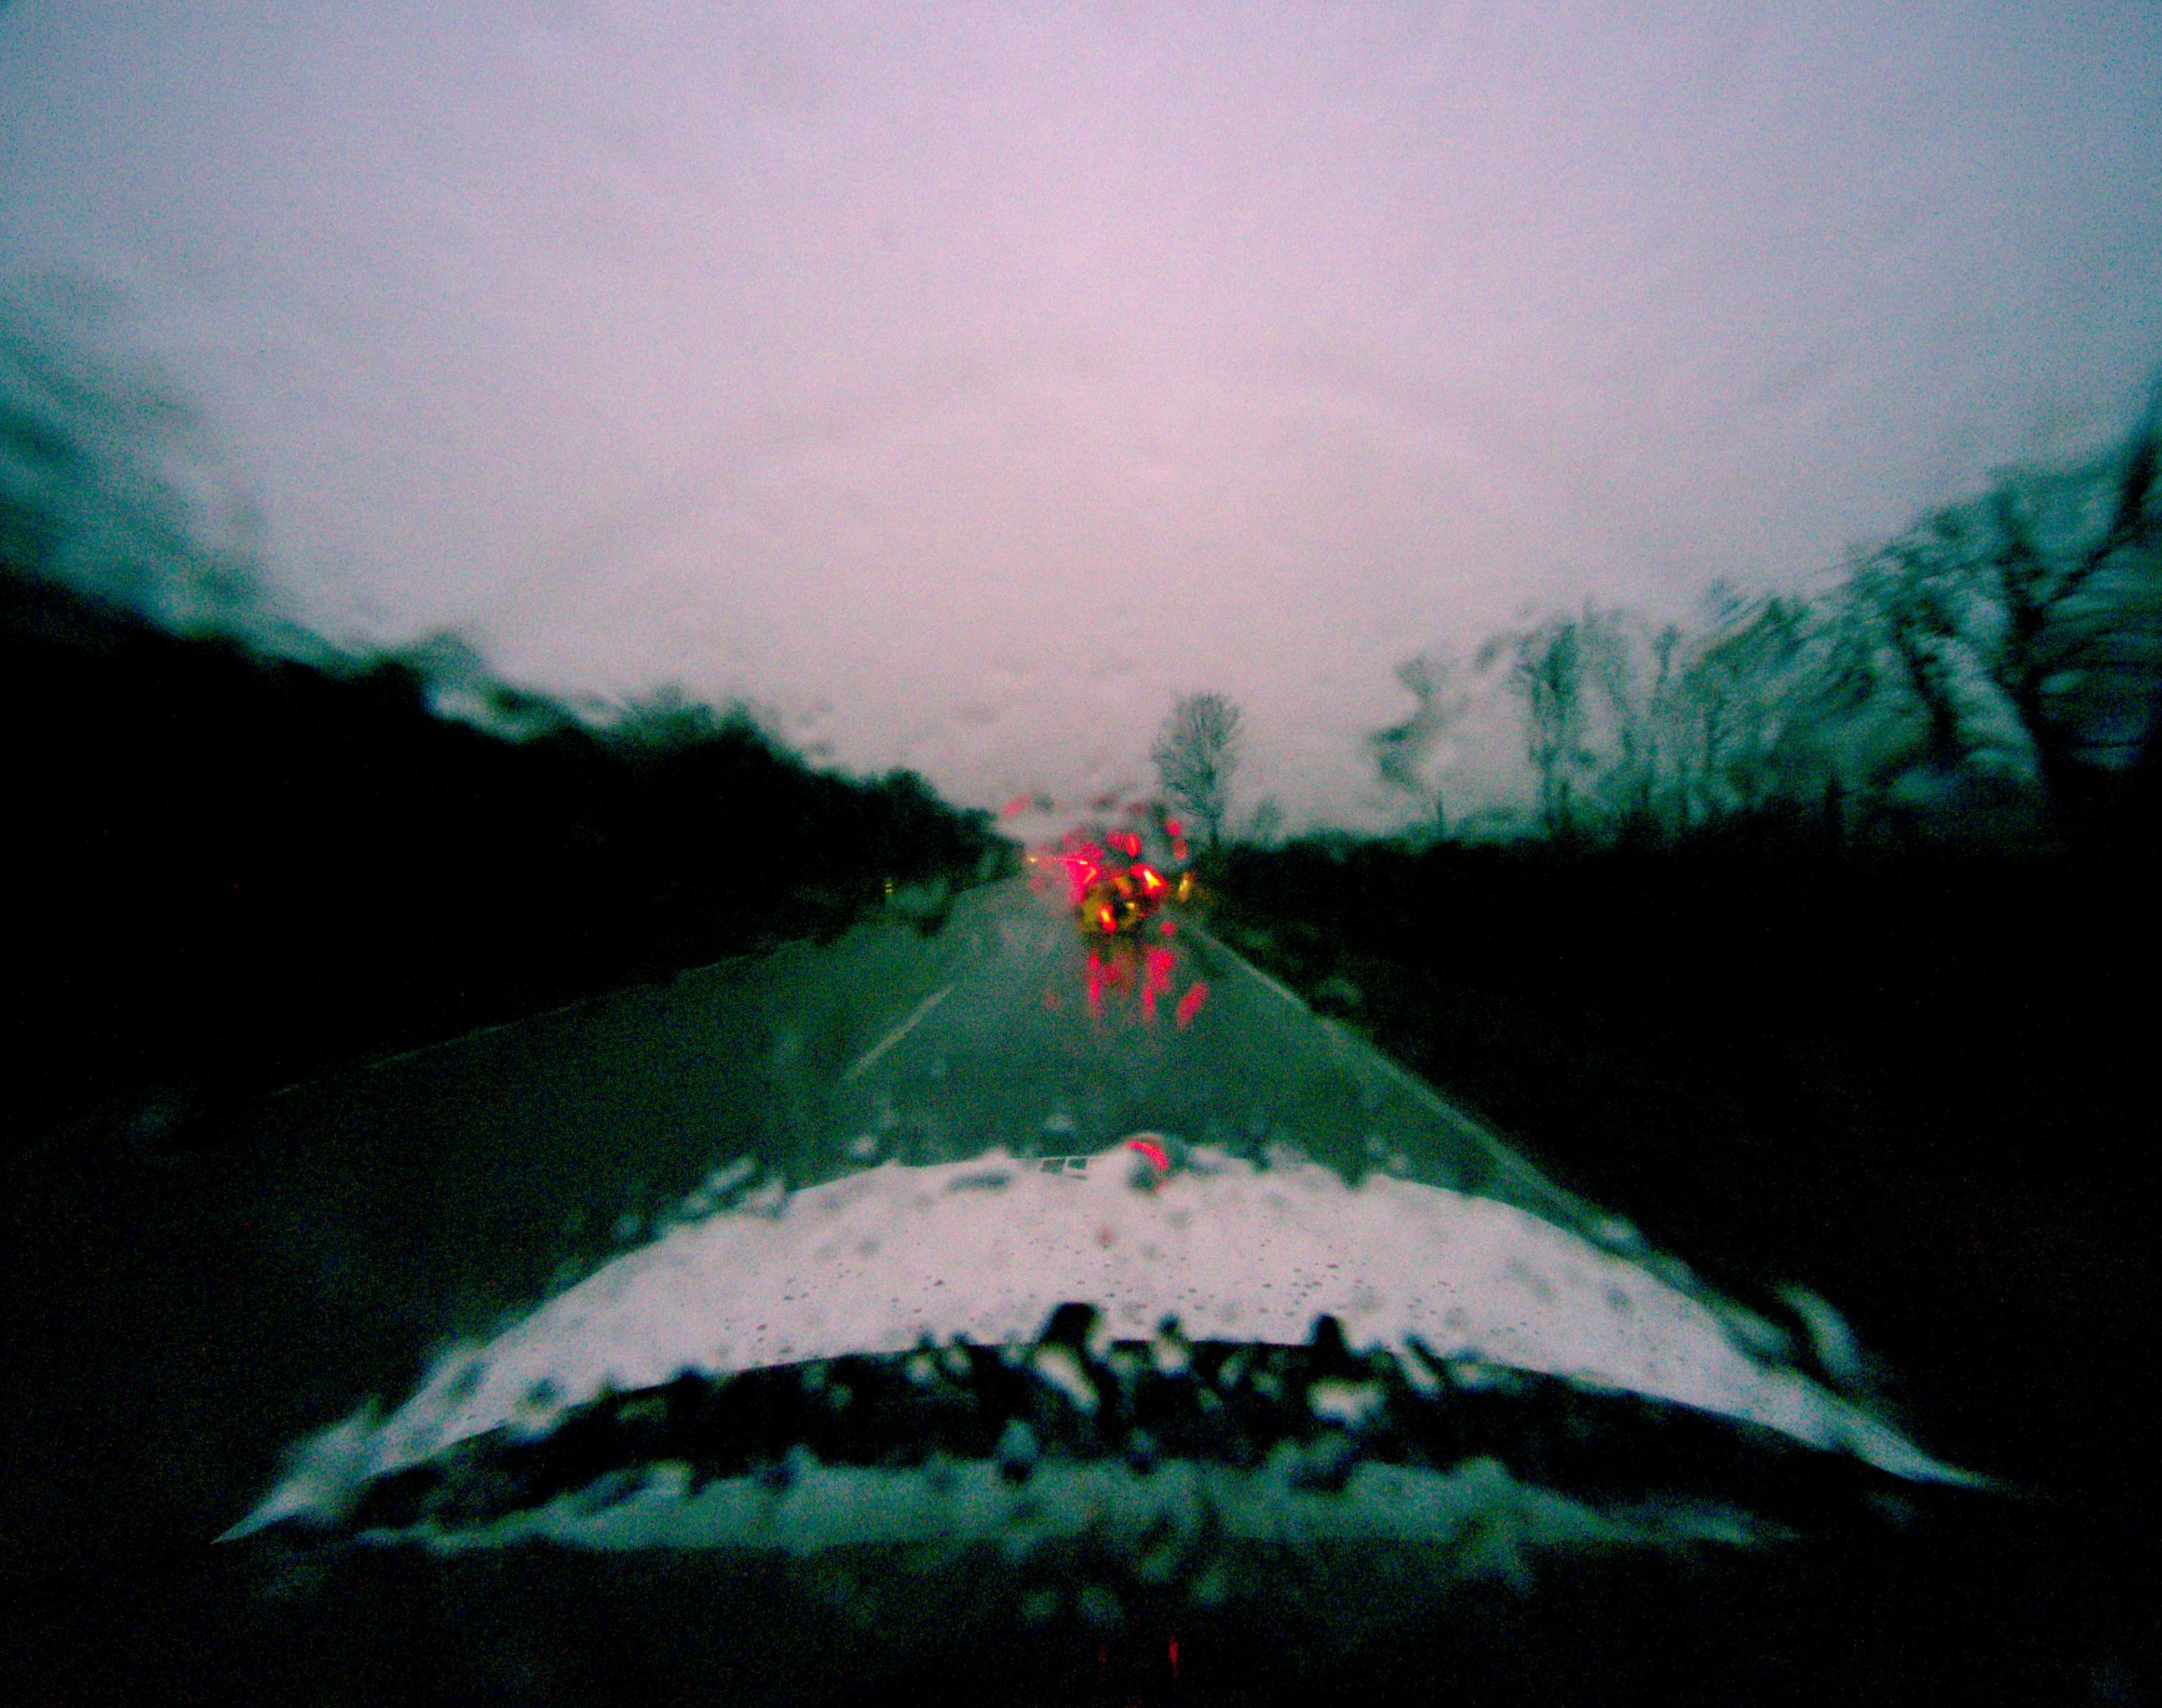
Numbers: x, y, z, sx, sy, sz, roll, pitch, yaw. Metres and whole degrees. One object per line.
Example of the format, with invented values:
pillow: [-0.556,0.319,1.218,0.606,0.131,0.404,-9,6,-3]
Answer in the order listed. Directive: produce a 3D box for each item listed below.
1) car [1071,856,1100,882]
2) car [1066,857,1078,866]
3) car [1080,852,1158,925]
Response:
car: [0.282,0.827,46.682,1.541,1.396,3.871,-1,0,2]
car: [-1.517,1.246,139.701,1.539,1.396,3.875,-1,0,6]
car: [0.935,0.718,18.851,1.595,1.522,3.874,-1,0,4]
